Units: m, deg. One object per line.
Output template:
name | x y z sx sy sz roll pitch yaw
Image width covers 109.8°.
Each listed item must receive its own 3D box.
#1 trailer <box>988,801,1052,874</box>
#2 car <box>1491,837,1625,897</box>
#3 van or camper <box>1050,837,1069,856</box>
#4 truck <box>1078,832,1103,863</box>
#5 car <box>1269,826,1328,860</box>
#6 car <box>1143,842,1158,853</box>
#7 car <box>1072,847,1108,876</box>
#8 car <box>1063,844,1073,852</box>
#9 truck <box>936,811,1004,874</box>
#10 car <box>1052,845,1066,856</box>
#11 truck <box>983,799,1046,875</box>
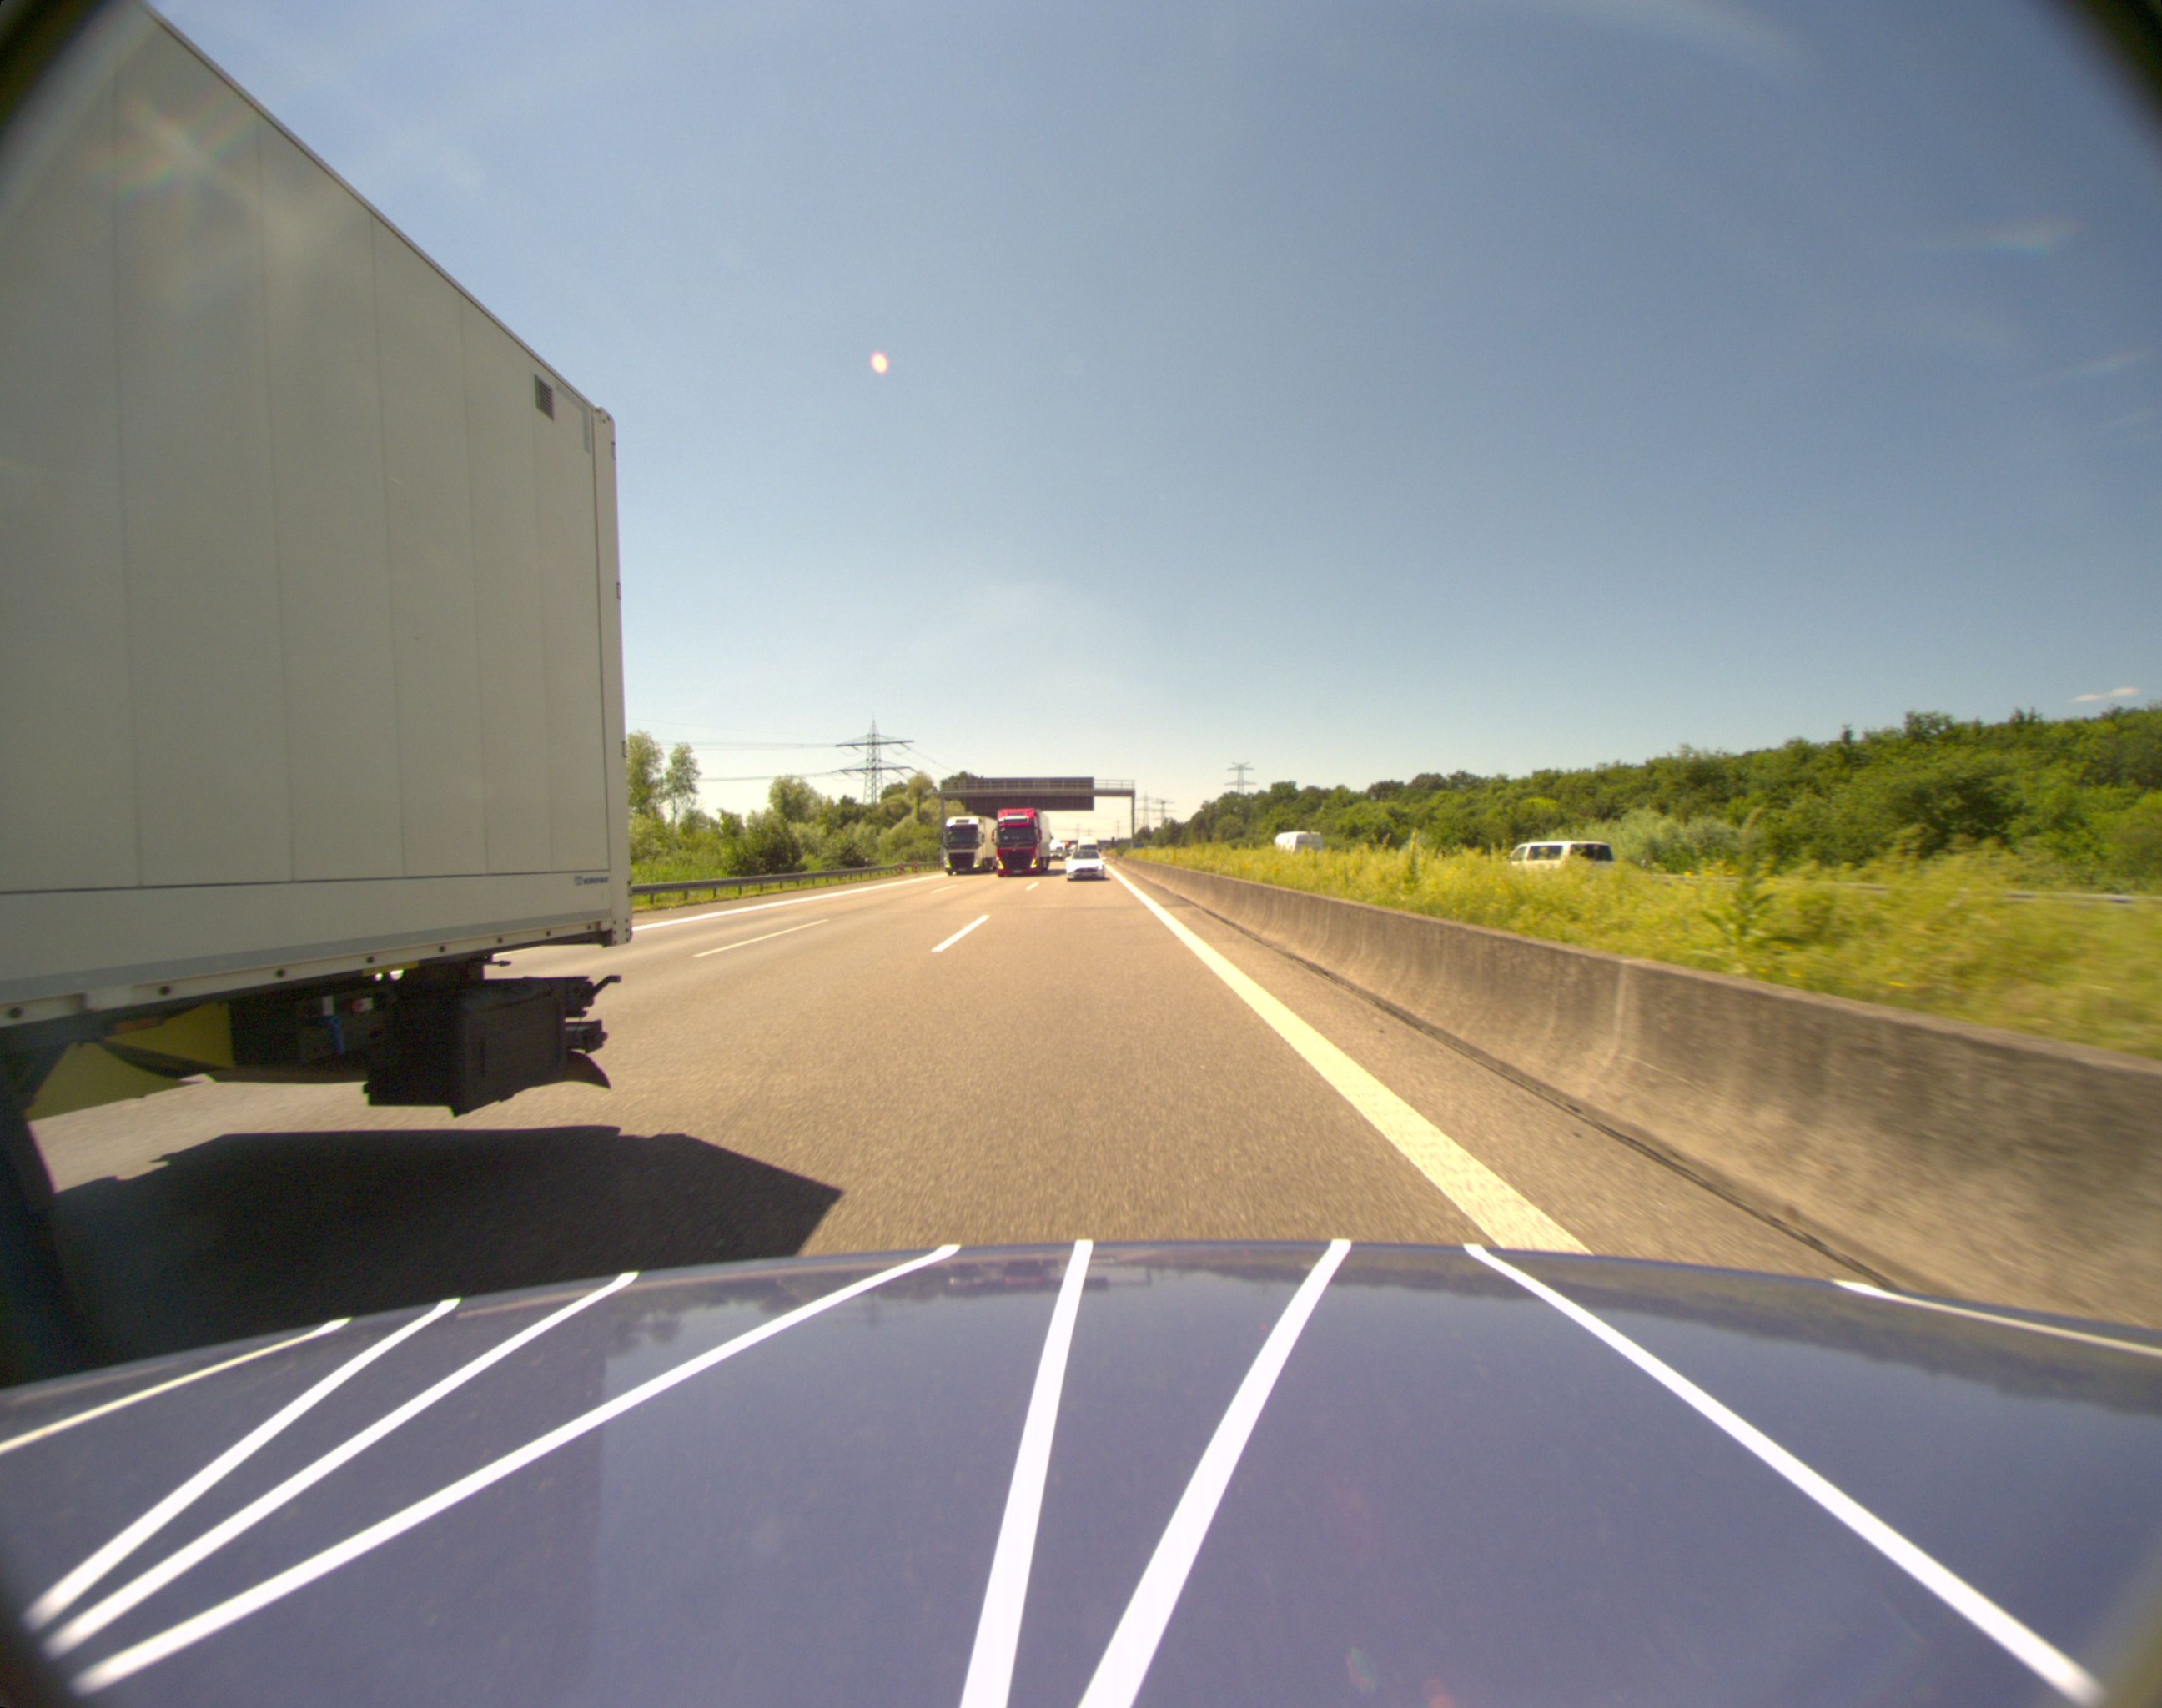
trailer | -3.736 -1.102 50.946 2.945 3.995 16.195 -2 1 0
car | 17.671 0.413 28.497 1.886 2.002 5.074 -1 1 1
van or camper | -3.015 -1.050 107.617 2.411 2.483 6.430 -1 1 0
truck | 0.904 -0.675 74.857 2.192 2.842 5.502 -2 1 0
car | 14.213 -0.738 50.087 1.998 2.002 6.555 -3 1 1
car | 10.921 -1.034 119.879 1.998 1.710 5.116 -1 1 1
car | 0.452 0.382 41.006 1.788 1.462 3.999 -1 1 0
car | -2.647 -1.307 158.134 1.904 1.662 3.999 -2 1 0
truck | -7.943 -0.900 56.031 3.033 4.069 10.975 -2 1 1
car | -2.975 -0.493 102.343 1.788 1.521 4.104 -1 1 0
truck | -3.655 -0.968 43.419 2.948 3.963 6.099 -2 1 0
